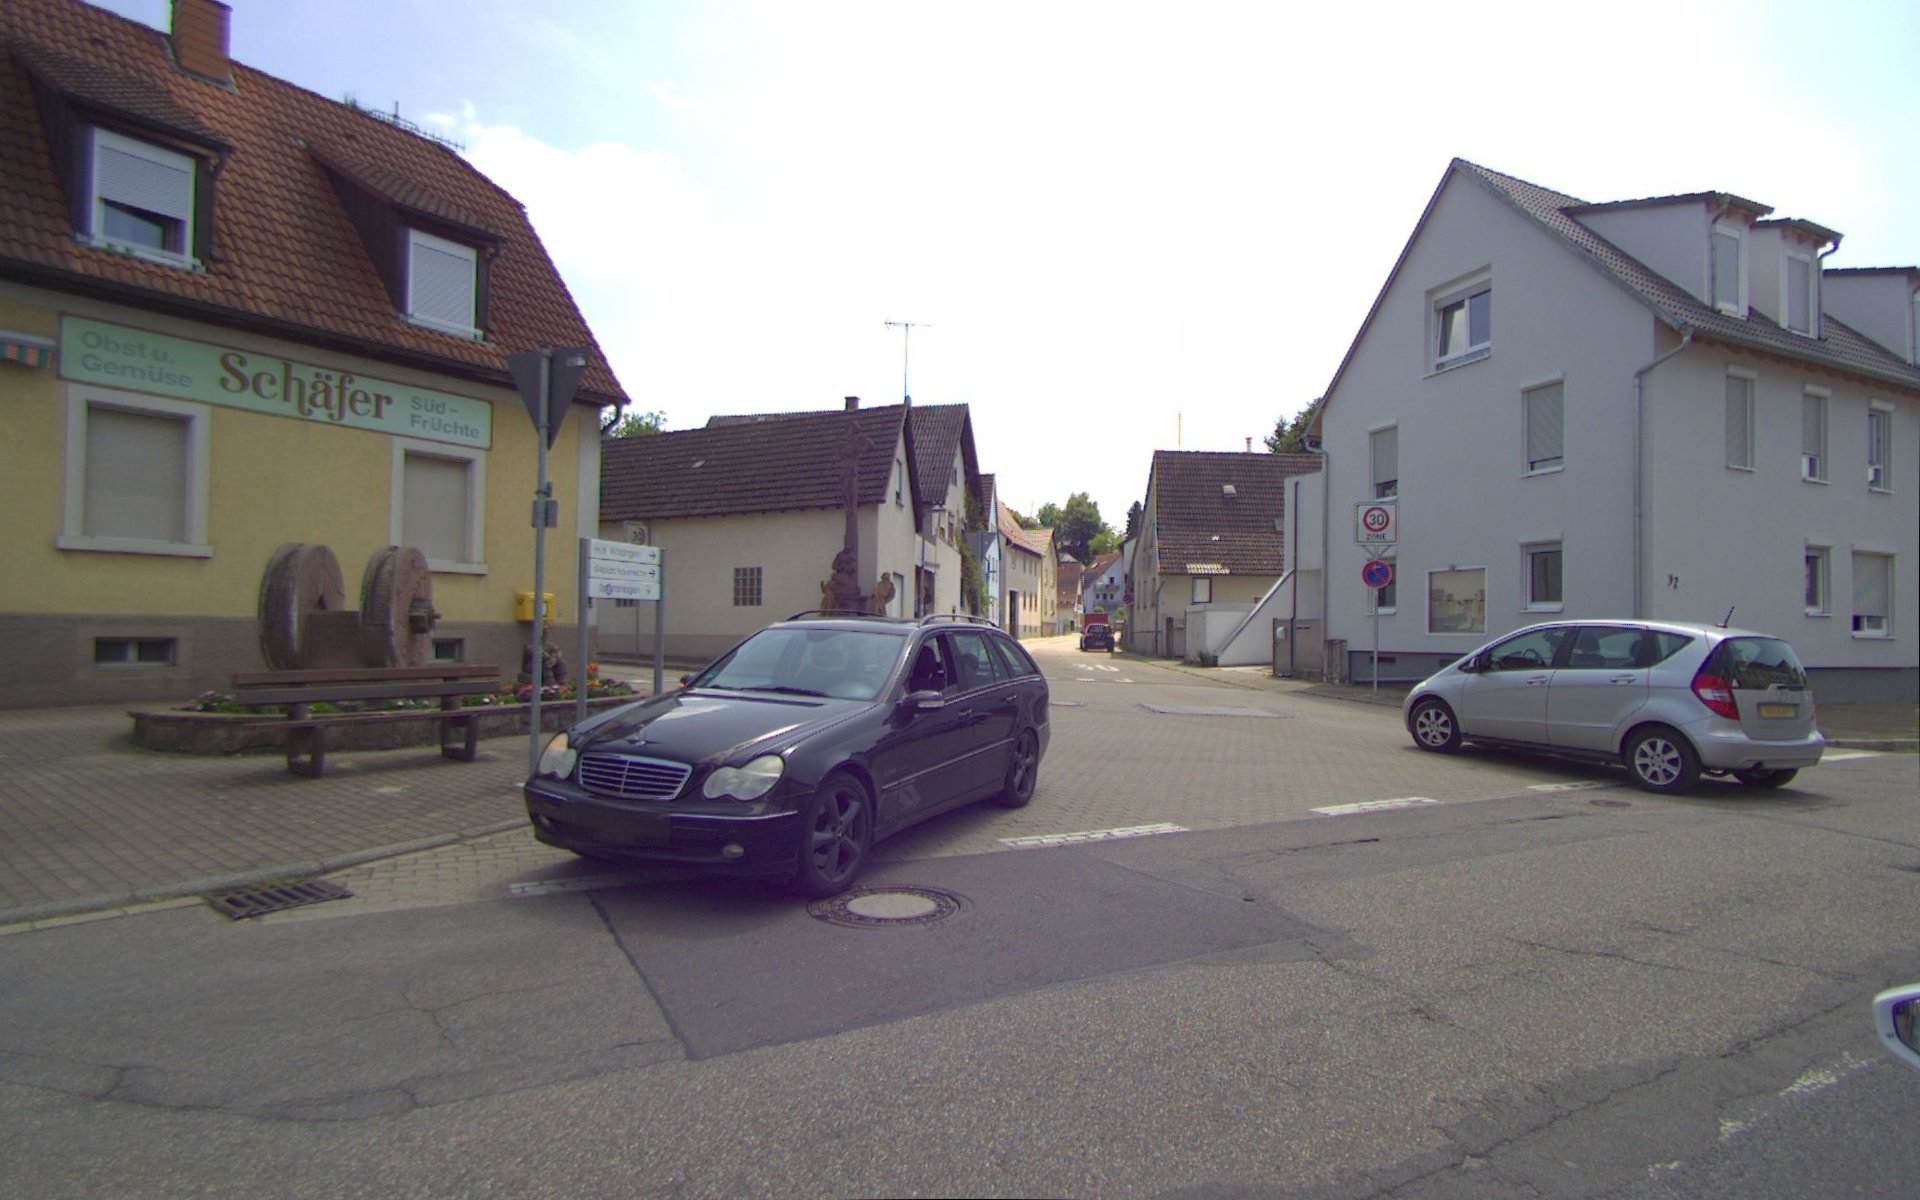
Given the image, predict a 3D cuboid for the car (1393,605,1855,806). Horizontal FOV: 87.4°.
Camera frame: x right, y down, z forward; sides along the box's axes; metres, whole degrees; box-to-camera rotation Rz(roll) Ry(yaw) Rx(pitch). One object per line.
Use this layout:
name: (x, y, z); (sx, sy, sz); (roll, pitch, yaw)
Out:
car: (6.771, 0.949, 10.700); (1.791, 1.665, 3.707); (2, 0, -24)

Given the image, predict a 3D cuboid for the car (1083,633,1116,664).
car: (7.454, 2.562, 53.909); (1.461, 1.550, 3.478); (2, -2, 4)

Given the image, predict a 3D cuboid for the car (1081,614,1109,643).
car: (8.007, 1.707, 59.611); (1.369, 1.656, 3.478); (2, -2, 4)

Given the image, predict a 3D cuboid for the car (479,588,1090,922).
car: (-0.679, 0.793, 6.919); (1.780, 1.430, 4.634); (2, -2, 25)
